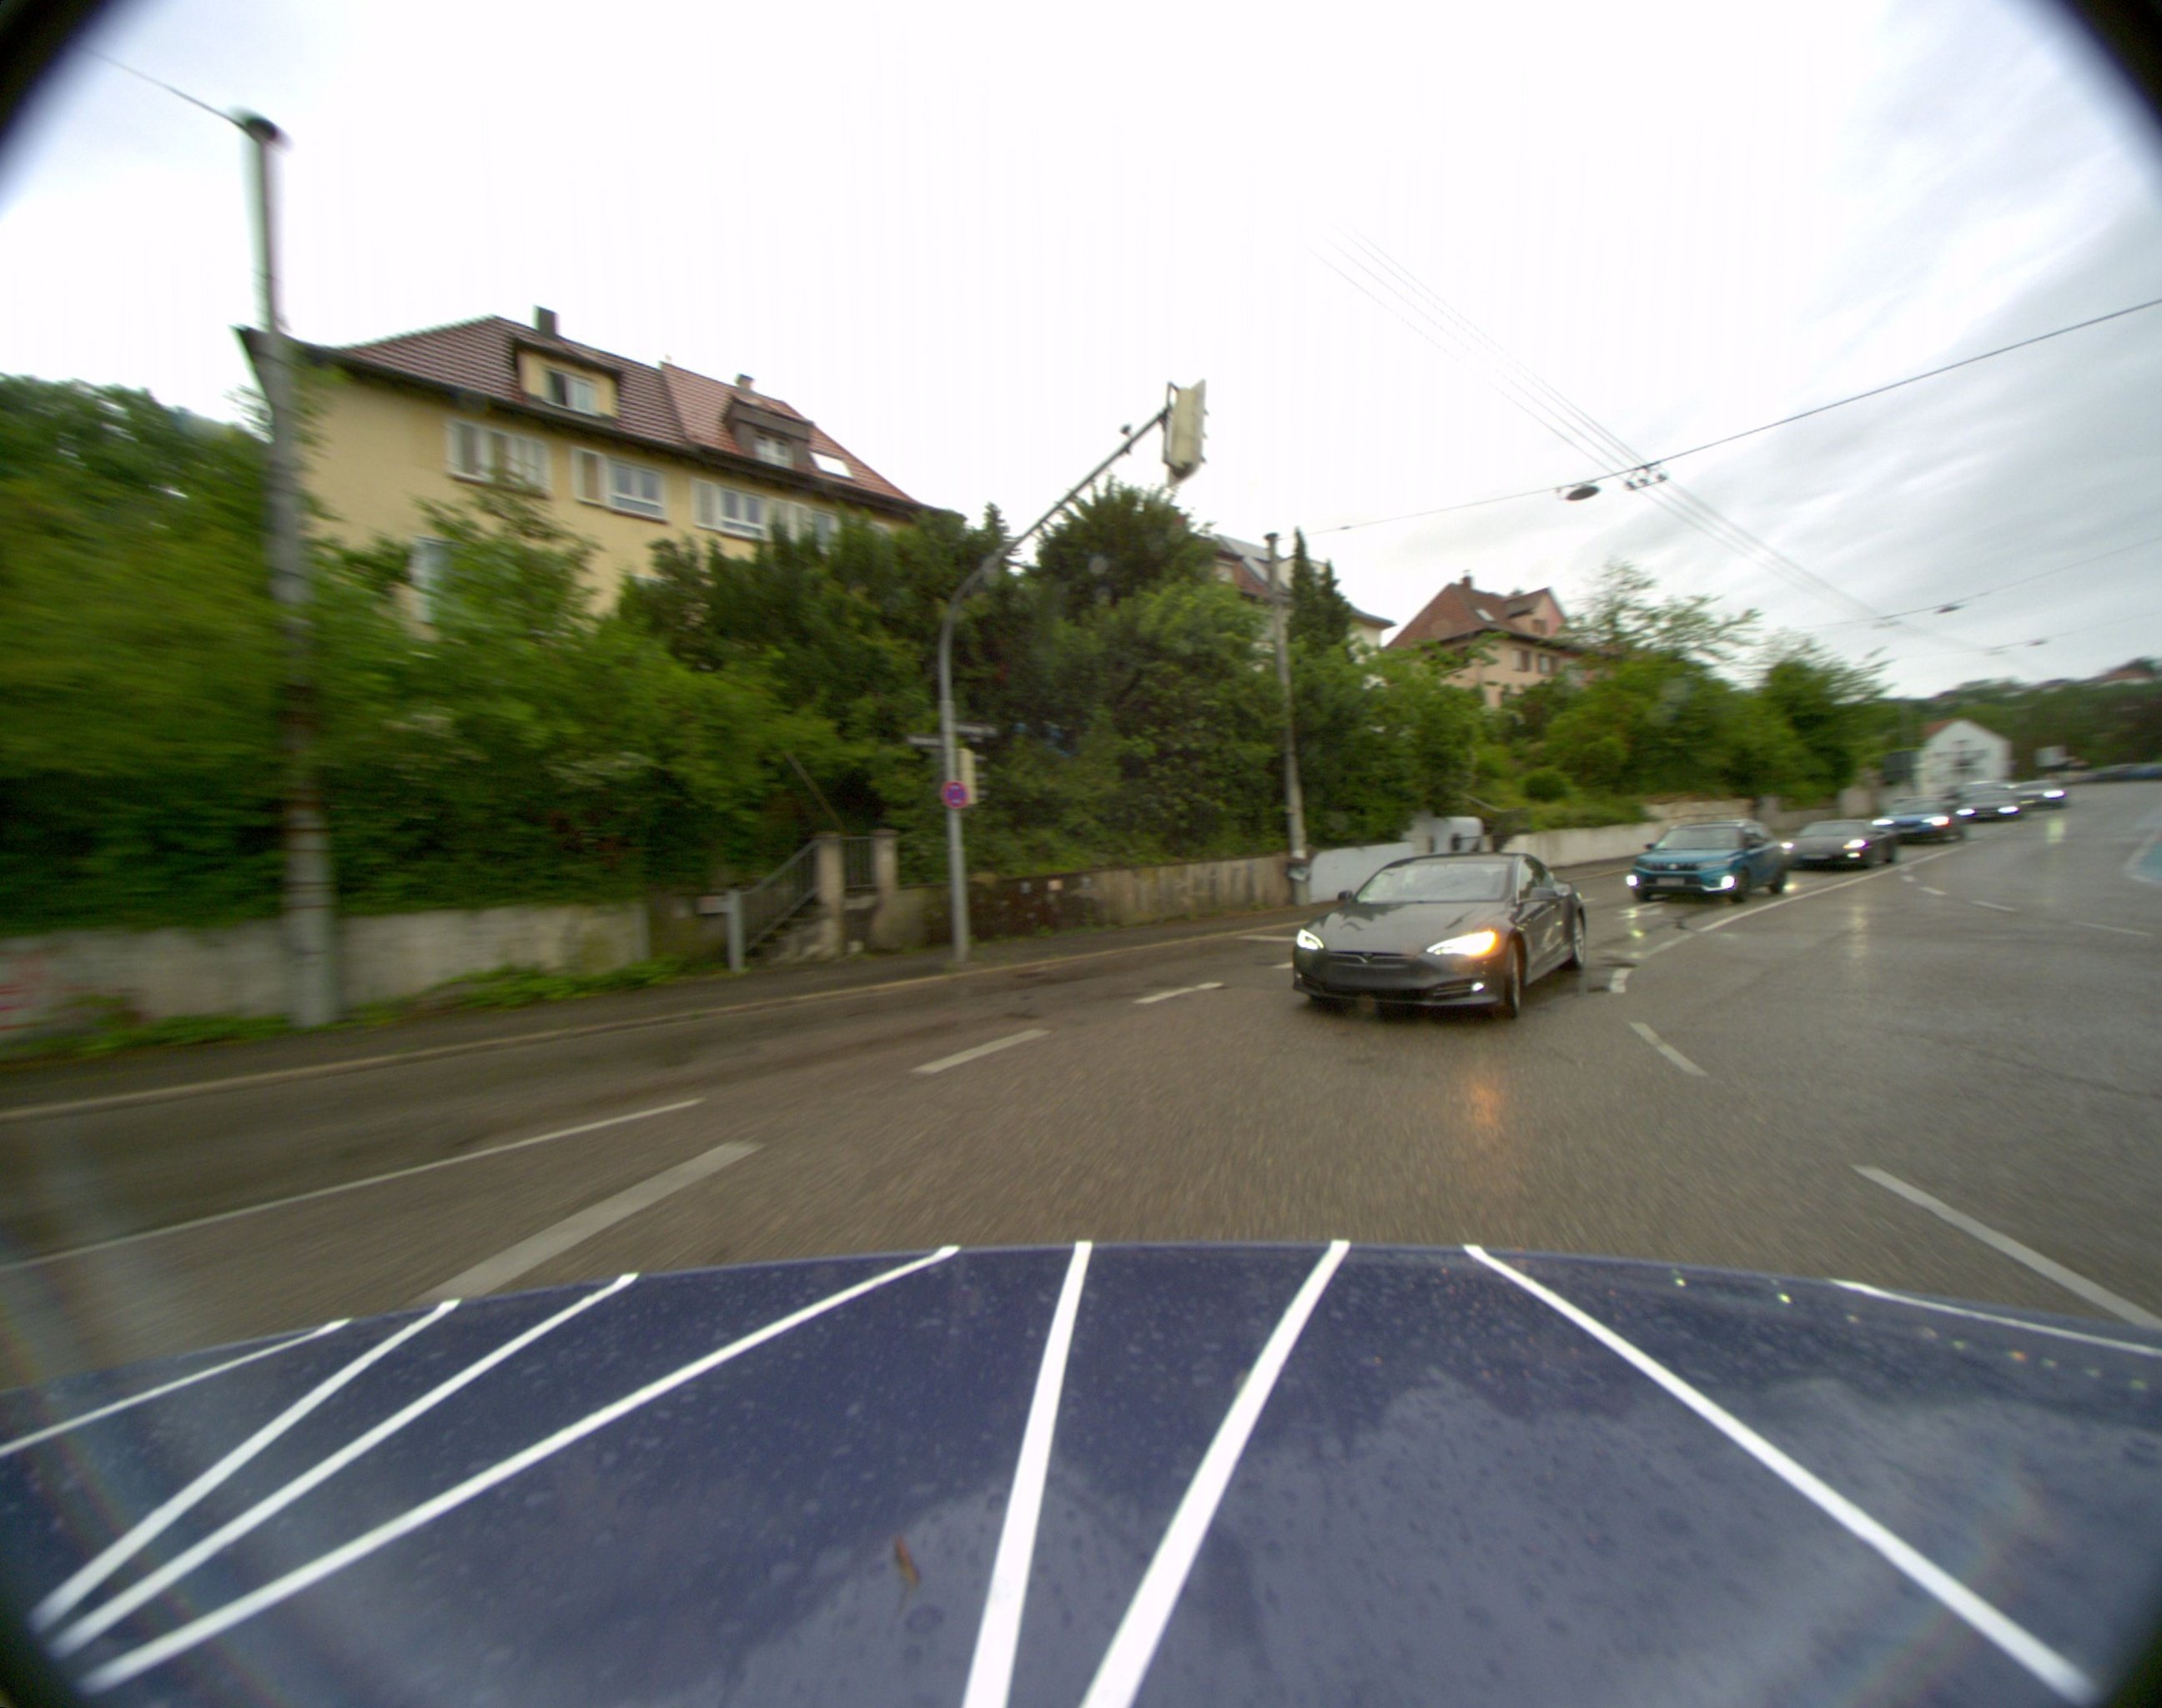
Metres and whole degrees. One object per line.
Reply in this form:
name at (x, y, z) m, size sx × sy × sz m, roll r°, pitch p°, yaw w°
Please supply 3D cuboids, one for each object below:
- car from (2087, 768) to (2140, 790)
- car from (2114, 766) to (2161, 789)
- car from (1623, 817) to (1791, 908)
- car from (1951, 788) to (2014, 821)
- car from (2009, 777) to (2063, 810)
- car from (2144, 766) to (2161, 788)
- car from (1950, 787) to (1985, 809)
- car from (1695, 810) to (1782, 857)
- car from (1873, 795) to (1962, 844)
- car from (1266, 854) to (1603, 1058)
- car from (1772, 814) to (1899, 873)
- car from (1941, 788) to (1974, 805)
car at (99.784, -7.217, 73.507) m, size 1.769 × 1.749 × 4.332 m, roll -3°, pitch 0°, yaw 36°
car at (96.845, -6.942, 69.464) m, size 1.769 × 1.749 × 4.332 m, roll -3°, pitch 0°, yaw 39°
car at (13.192, 0.133, 15.947) m, size 4.048 × 1.600 × 1.797 m, roll -3°, pitch 0°, yaw -37°
car at (44.093, -2.390, 37.149) m, size 4.048 × 1.452 × 1.755 m, roll -3°, pitch 1°, yaw -37°
car at (54.517, -3.446, 43.359) m, size 4.048 × 1.639 × 1.756 m, roll -4°, pitch -2°, yaw -37°
car at (93.452, -6.653, 65.106) m, size 1.769 × 1.749 × 4.332 m, roll -3°, pitch 0°, yaw 42°
car at (67.647, -4.266, 57.949) m, size 3.370 × 1.391 × 1.612 m, roll -5°, pitch 1°, yaw -39°
car at (24.155, -0.748, 27.899) m, size 3.370 × 1.443 × 1.549 m, roll -5°, pitch 1°, yaw -35°
car at (30.737, -1.267, 27.893) m, size 4.048 × 1.640 × 1.755 m, roll -3°, pitch 2°, yaw -36°
car at (3.919, 0.818, 7.981) m, size 1.832 × 1.384 × 4.332 m, roll -3°, pitch 0°, yaw 44°
car at (21.119, -0.313, 21.224) m, size 4.048 × 1.452 × 1.755 m, roll -3°, pitch 1°, yaw -34°
car at (83.467, -5.495, 72.394) m, size 1.612 × 1.391 × 3.371 m, roll -4°, pitch 1°, yaw 42°
